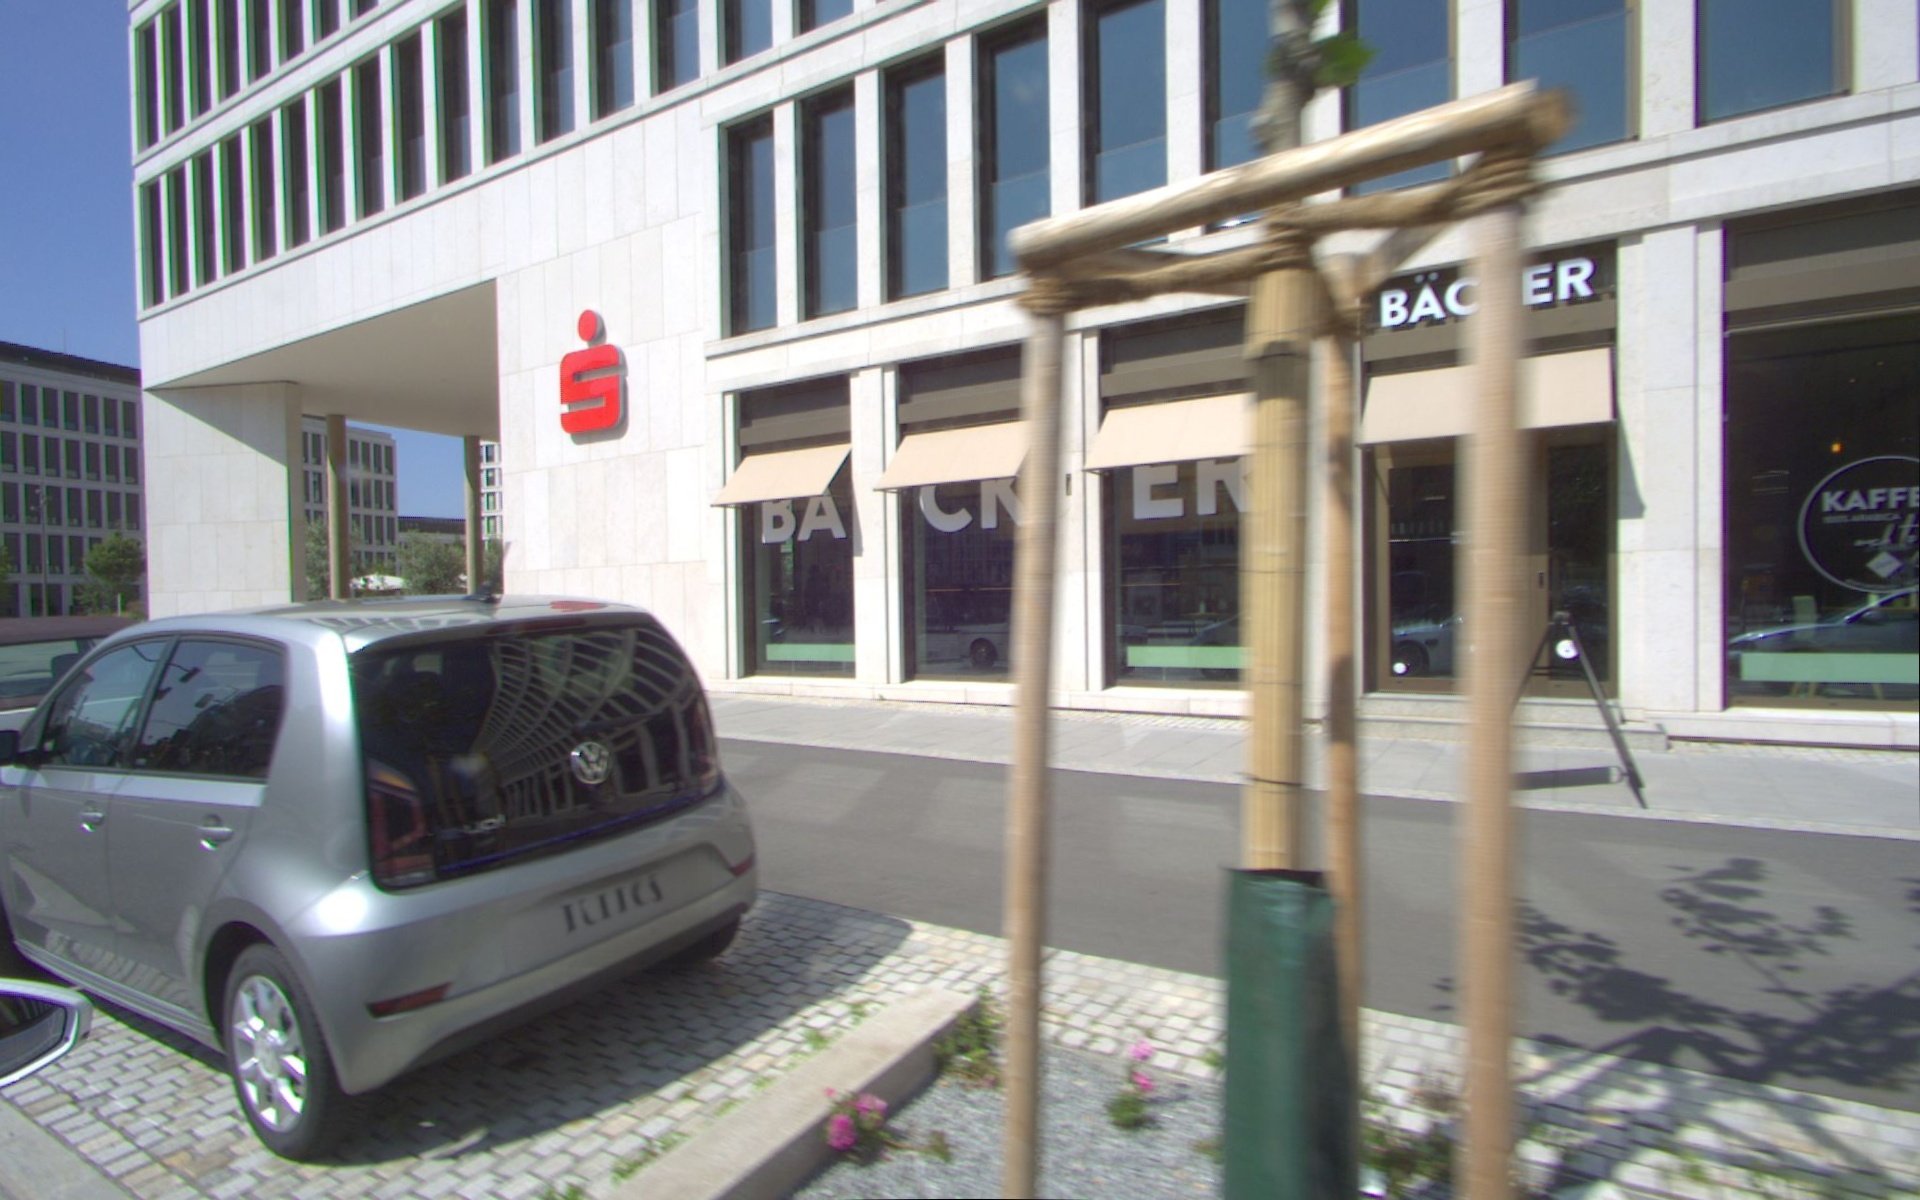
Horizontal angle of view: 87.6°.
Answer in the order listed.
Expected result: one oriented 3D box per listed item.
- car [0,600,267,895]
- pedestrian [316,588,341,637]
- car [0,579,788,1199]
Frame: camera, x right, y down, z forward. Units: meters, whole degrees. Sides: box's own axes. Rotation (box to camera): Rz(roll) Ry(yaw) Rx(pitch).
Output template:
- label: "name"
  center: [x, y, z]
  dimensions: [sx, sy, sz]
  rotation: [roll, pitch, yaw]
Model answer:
- label: "car"
  center: [-6.275, 0.773, 6.491]
  dimensions: [3.943, 1.410, 1.425]
  rotation: [-1, 4, 32]
- label: "pedestrian"
  center: [-26.102, 0.515, 41.380]
  dimensions: [0.613, 2.040, 0.642]
  rotation: [0, 1, 32]
- label: "car"
  center: [-2.500, 0.713, 3.915]
  dimensions: [3.420, 1.492, 1.552]
  rotation: [-1, 2, 32]
